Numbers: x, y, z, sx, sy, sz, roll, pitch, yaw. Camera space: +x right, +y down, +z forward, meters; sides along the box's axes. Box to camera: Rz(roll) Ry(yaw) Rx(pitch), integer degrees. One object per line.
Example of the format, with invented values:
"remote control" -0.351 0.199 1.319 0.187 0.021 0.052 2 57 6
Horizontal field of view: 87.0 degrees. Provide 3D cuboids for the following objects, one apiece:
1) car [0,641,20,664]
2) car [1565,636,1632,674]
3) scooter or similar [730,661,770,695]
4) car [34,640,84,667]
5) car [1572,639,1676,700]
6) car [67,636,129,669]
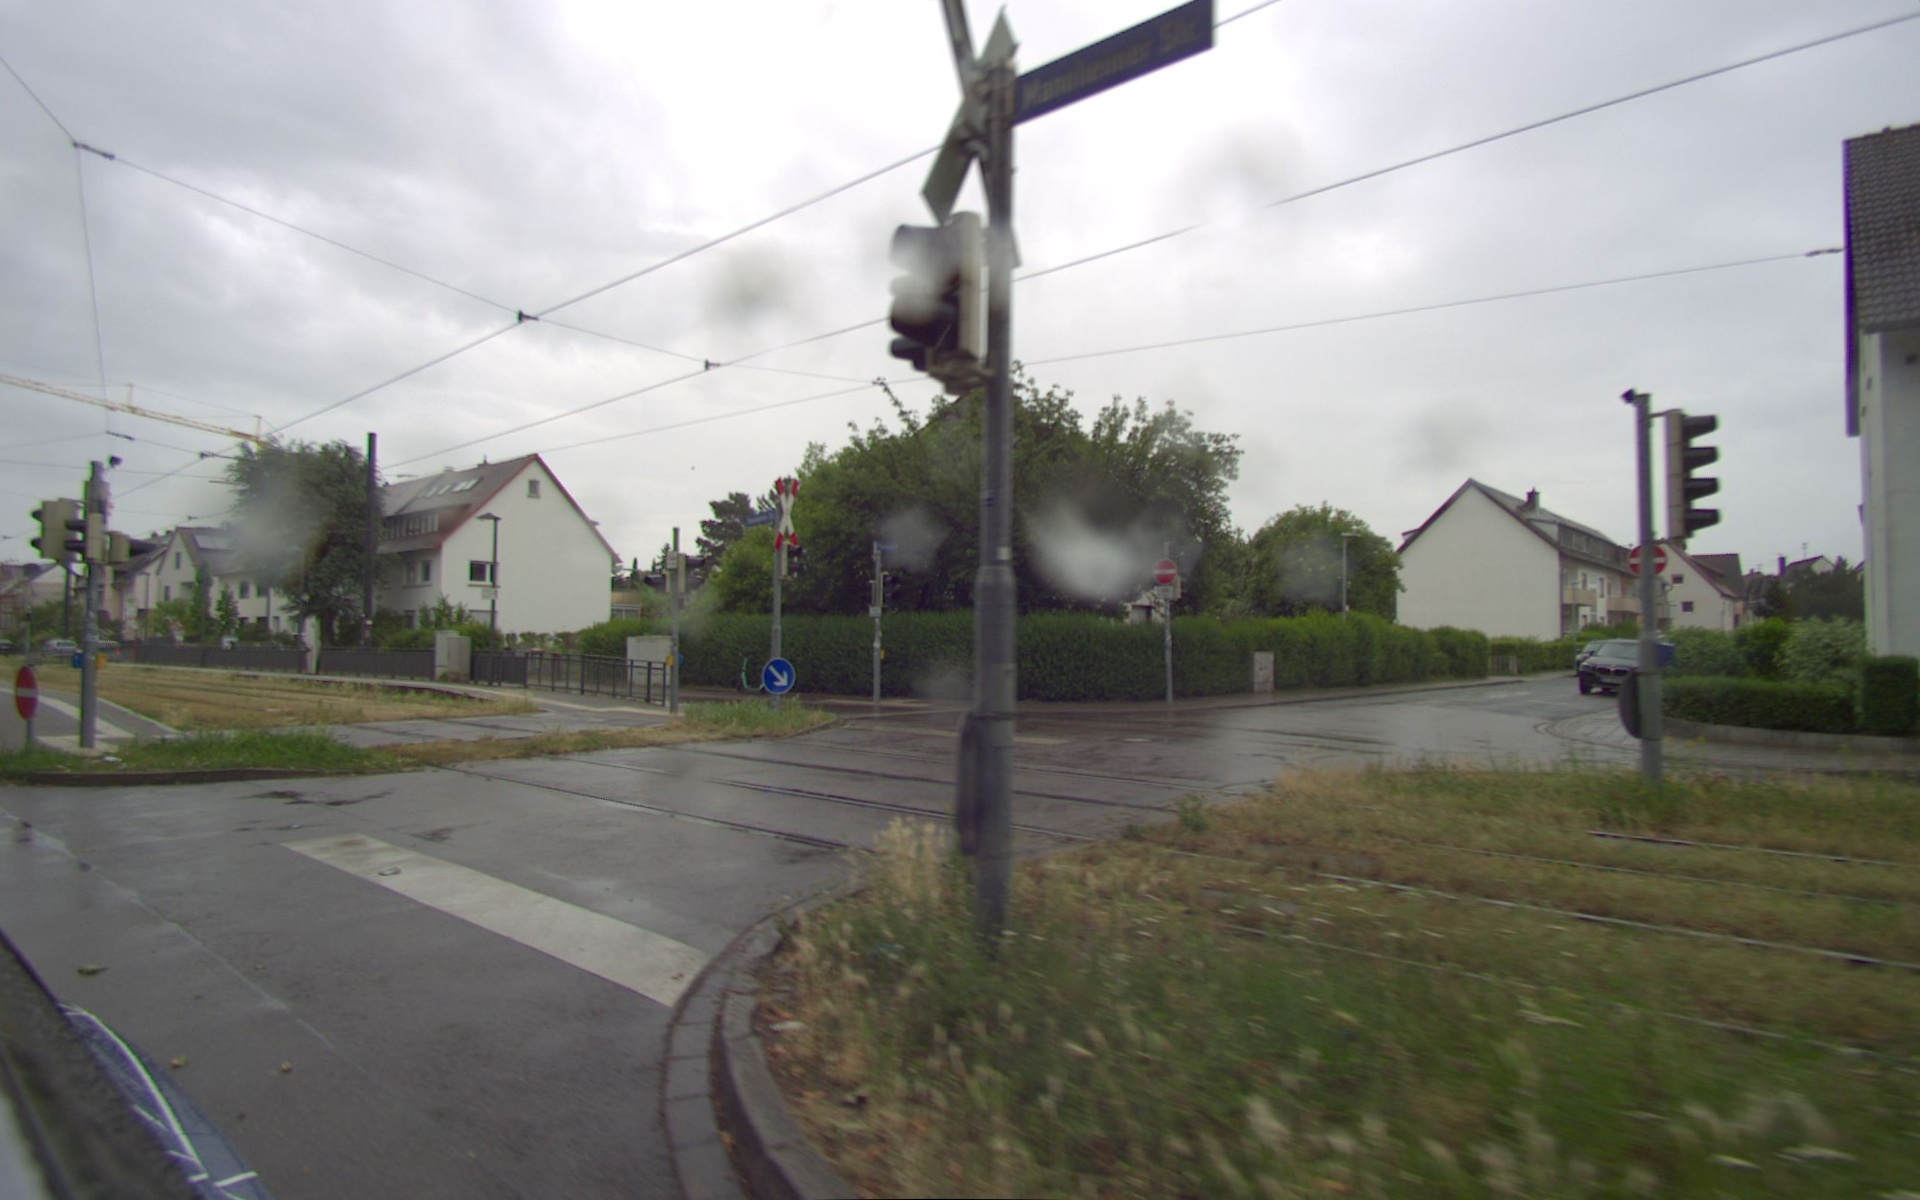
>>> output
"car" -85.219 4.627 89.621 3.990 2.029 1.976 -2 -3 35
"car" 29.248 2.513 46.314 1.899 1.652 3.944 -2 -4 42
"scooter or similar" -5.829 2.145 28.038 1.256 0.917 0.343 -2 -4 37
"car" -68.246 4.035 76.628 3.992 2.029 1.976 -2 -4 36
"car" 19.391 1.982 29.500 1.899 1.652 3.944 -2 -4 42
"car" -54.852 3.322 64.392 3.990 2.029 1.976 -2 -3 35
